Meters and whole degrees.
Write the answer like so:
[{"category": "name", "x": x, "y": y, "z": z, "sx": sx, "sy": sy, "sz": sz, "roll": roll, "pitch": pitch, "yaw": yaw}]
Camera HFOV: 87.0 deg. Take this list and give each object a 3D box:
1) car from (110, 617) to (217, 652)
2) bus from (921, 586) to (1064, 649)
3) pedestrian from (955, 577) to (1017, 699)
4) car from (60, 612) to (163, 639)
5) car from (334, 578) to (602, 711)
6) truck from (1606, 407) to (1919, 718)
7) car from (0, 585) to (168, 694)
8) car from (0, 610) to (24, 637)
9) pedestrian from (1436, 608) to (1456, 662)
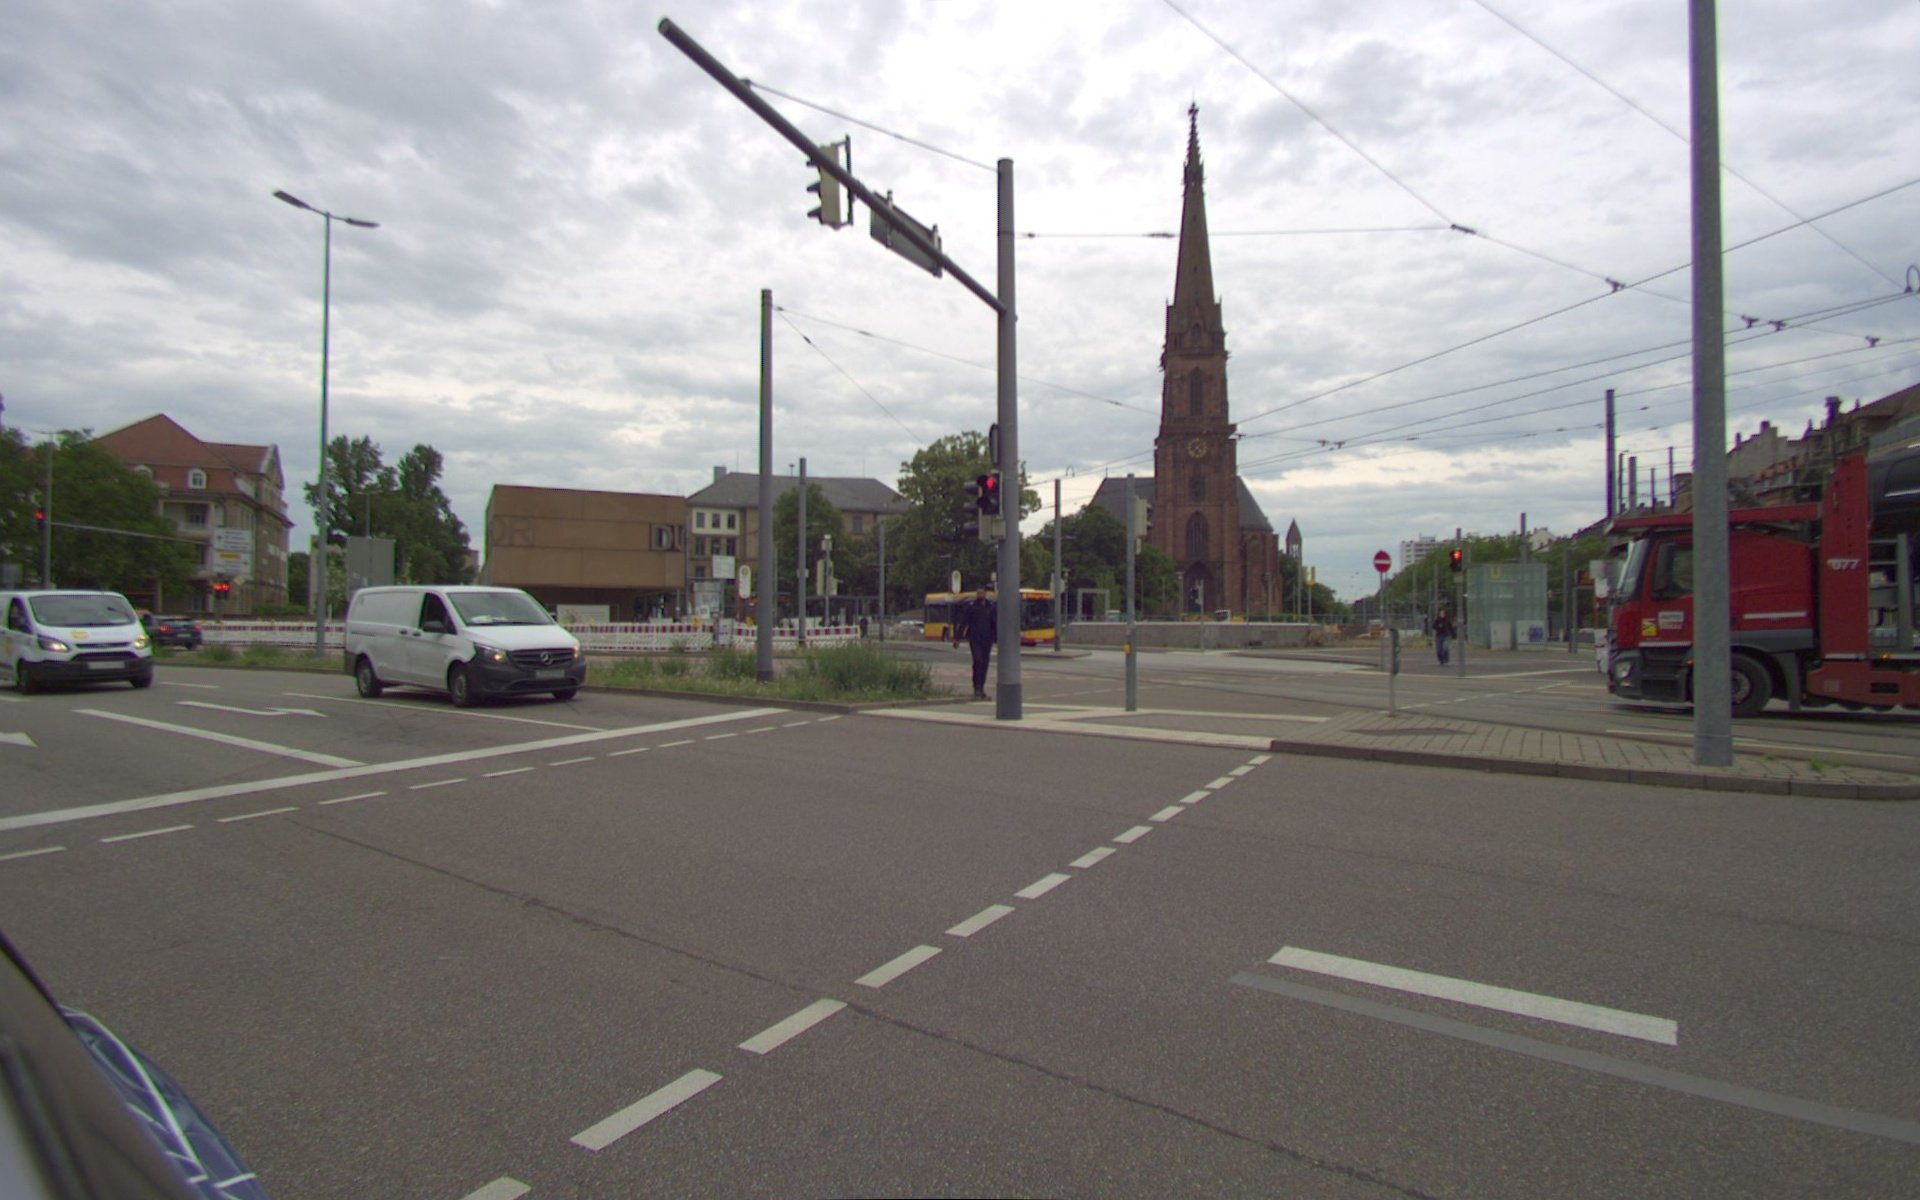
[{"category": "car", "x": -33.545, "y": 1.428, "z": 42.611, "sx": 3.978, "sy": 1.409, "sz": 1.983, "roll": -1, "pitch": -2, "yaw": 25}, {"category": "bus", "x": 1.431, "y": 0.927, "z": 55.952, "sx": 2.815, "sy": 3.100, "sz": 12.060, "roll": 0, "pitch": 0, "yaw": -24}, {"category": "pedestrian", "x": 0.417, "y": 0.629, "z": 16.889, "sx": 0.768, "sy": 1.958, "sz": 0.984, "roll": 0, "pitch": -2, "yaw": -16}, {"category": "car", "x": -56.427, "y": 1.671, "z": 67.414, "sx": 1.893, "sy": 1.730, "sz": 5.224, "roll": 0, "pitch": -2, "yaw": 11}, {"category": "car", "x": -8.246, "y": 0.648, "z": 16.758, "sx": 5.080, "sy": 1.896, "sz": 1.900, "roll": -1, "pitch": 0, "yaw": 37}, {"category": "truck", "x": 14.675, "y": -0.501, "z": 13.120, "sx": 10.416, "sy": 3.950, "sz": 2.984, "roll": -1, "pitch": -1, "yaw": 30}, {"category": "car", "x": -17.957, "y": 0.757, "z": 20.214, "sx": 4.510, "sy": 1.957, "sz": 1.978, "roll": -1, "pitch": -2, "yaw": 33}, {"category": "car", "x": -63.602, "y": 1.554, "z": 65.537, "sx": 1.992, "sy": 1.741, "sz": 3.960, "roll": -1, "pitch": -1, "yaw": 29}, {"category": "pedestrian", "x": 14.877, "y": 1.071, "z": 30.981, "sx": 0.479, "sy": 1.623, "sz": 0.421, "roll": -1, "pitch": -2, "yaw": 34}]
